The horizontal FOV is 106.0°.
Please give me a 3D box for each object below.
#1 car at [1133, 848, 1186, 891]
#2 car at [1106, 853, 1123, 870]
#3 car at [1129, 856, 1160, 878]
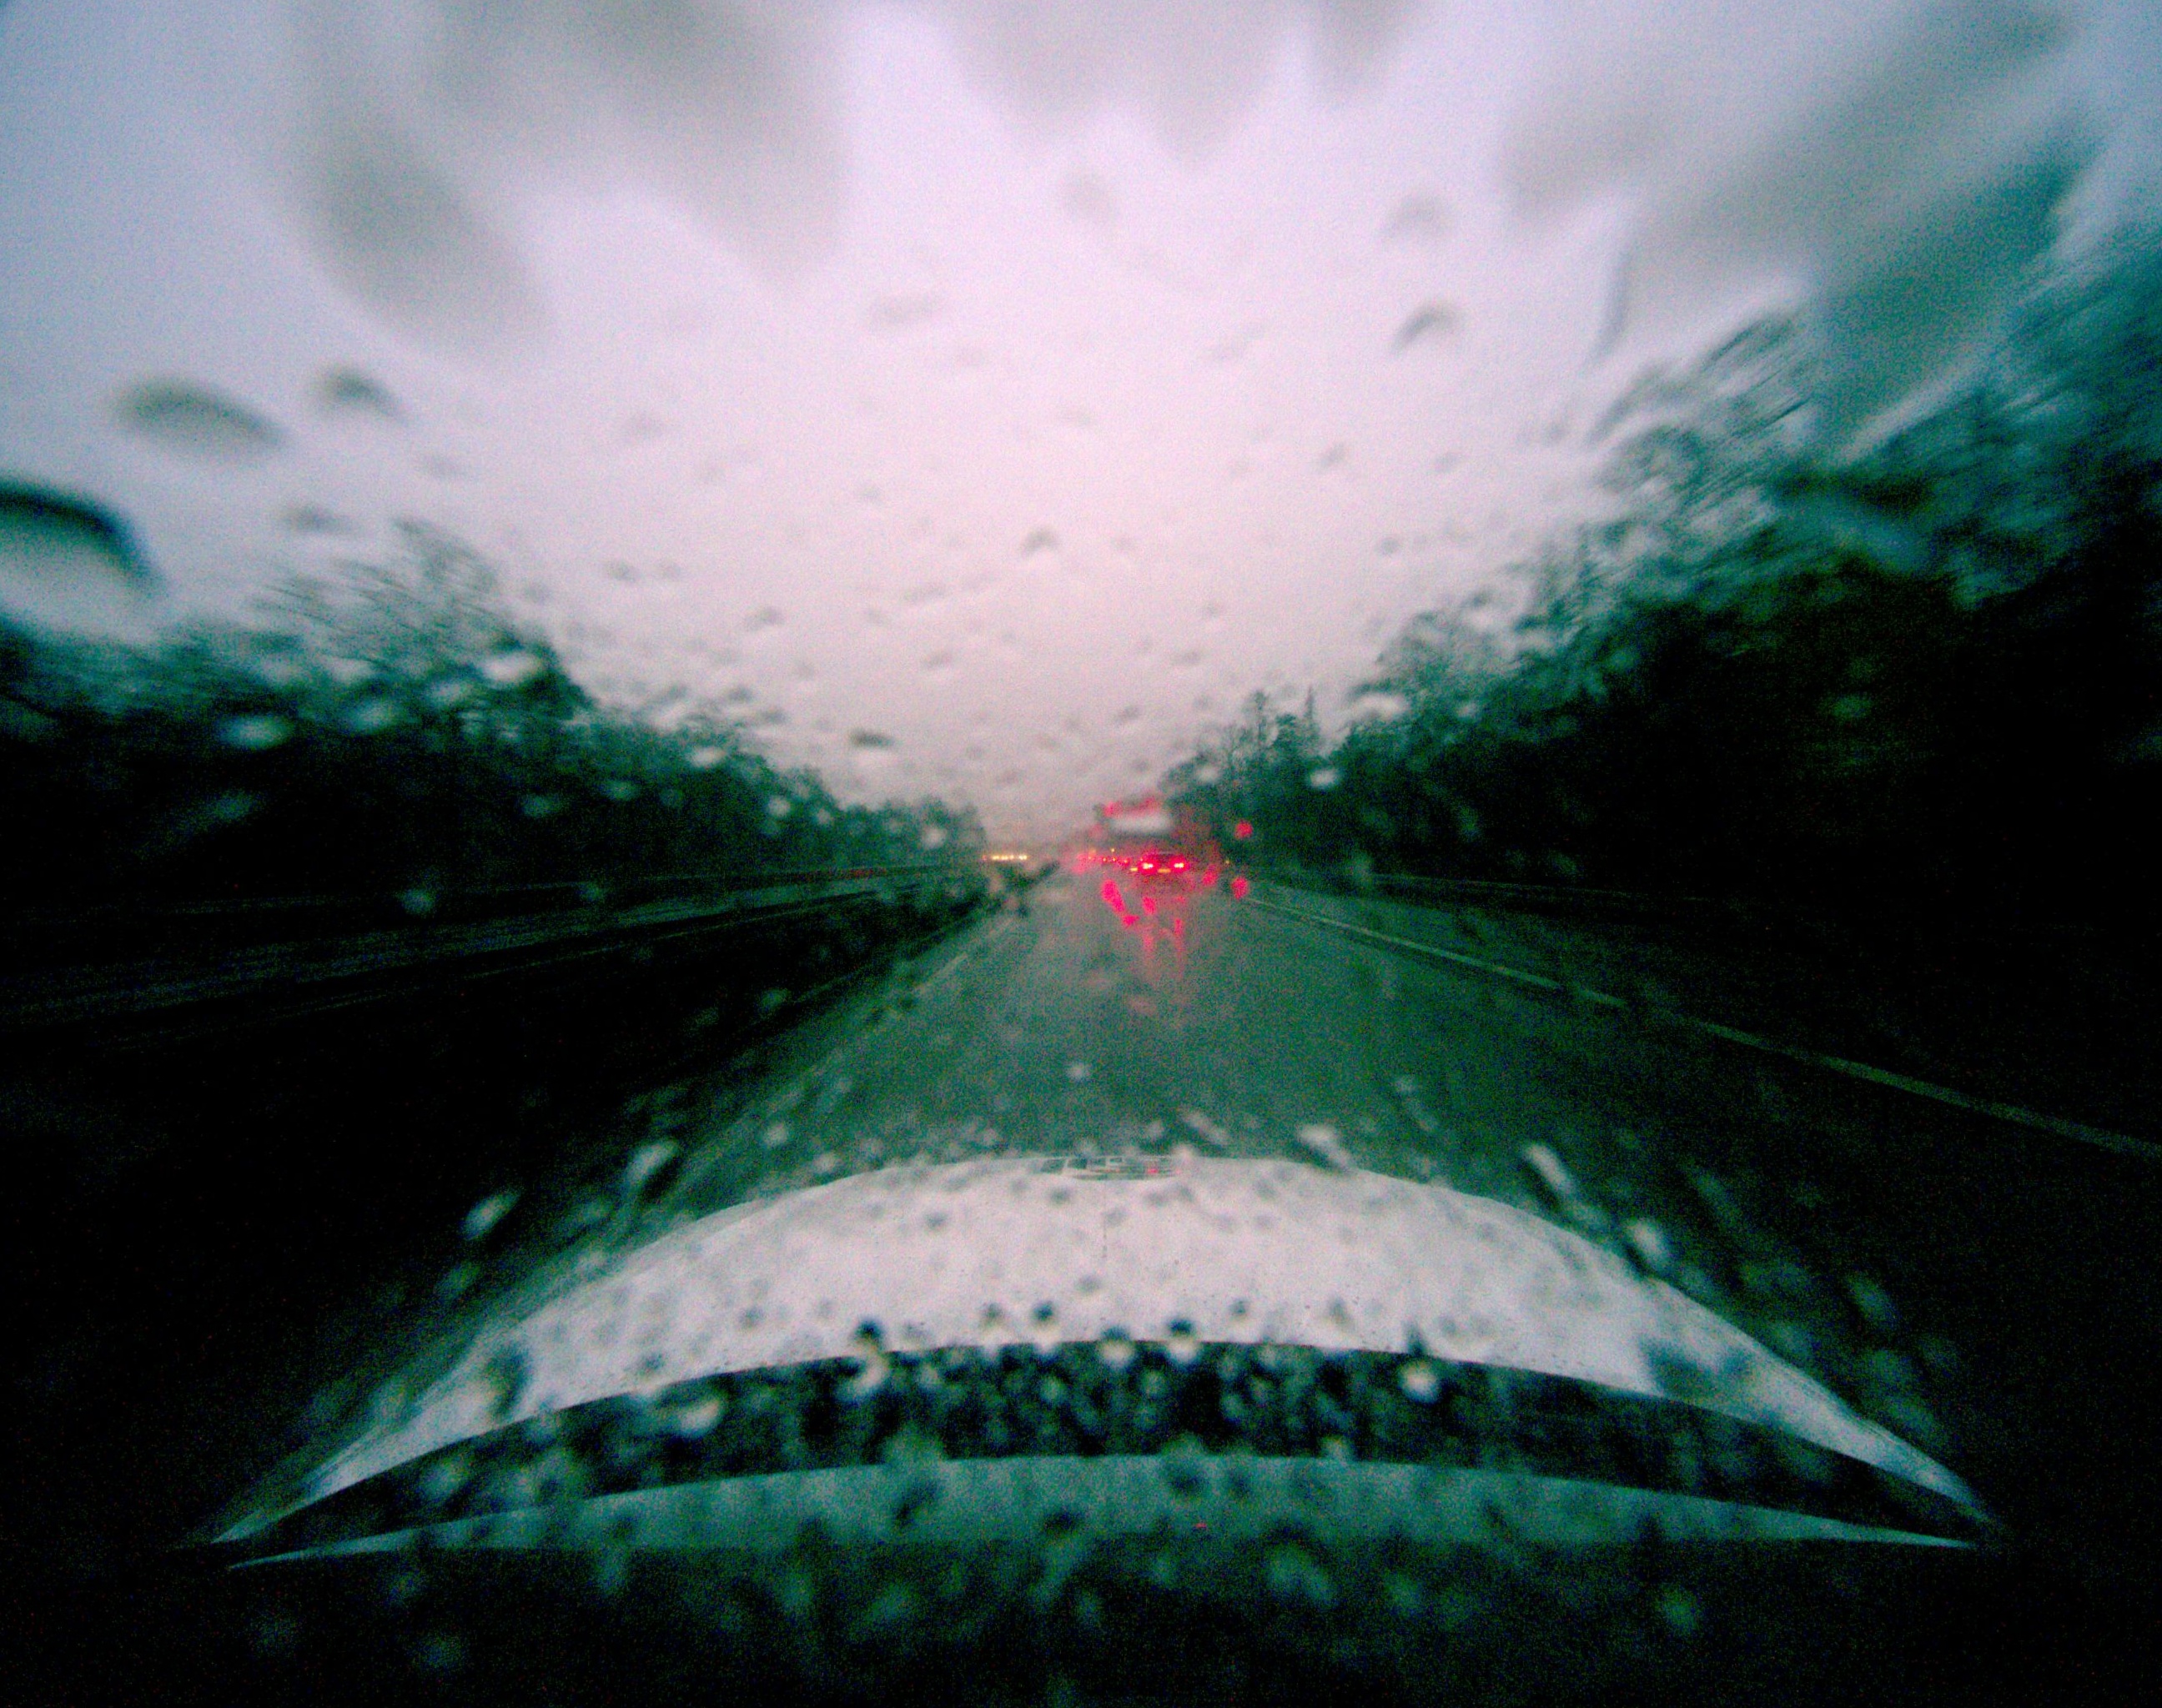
[{"bbox_3d":[3.308,0.656,34.997,1.985,1.715,3.831,-1,0,1],"label":"car"},{"bbox_3d":[4.181,0.962,101.831,1.987,2.014,4.000,-1,0,0],"label":"car"},{"bbox_3d":[4.411,0.882,57.073,1.986,1.420,4.001,1,-1,1],"label":"car"}]
